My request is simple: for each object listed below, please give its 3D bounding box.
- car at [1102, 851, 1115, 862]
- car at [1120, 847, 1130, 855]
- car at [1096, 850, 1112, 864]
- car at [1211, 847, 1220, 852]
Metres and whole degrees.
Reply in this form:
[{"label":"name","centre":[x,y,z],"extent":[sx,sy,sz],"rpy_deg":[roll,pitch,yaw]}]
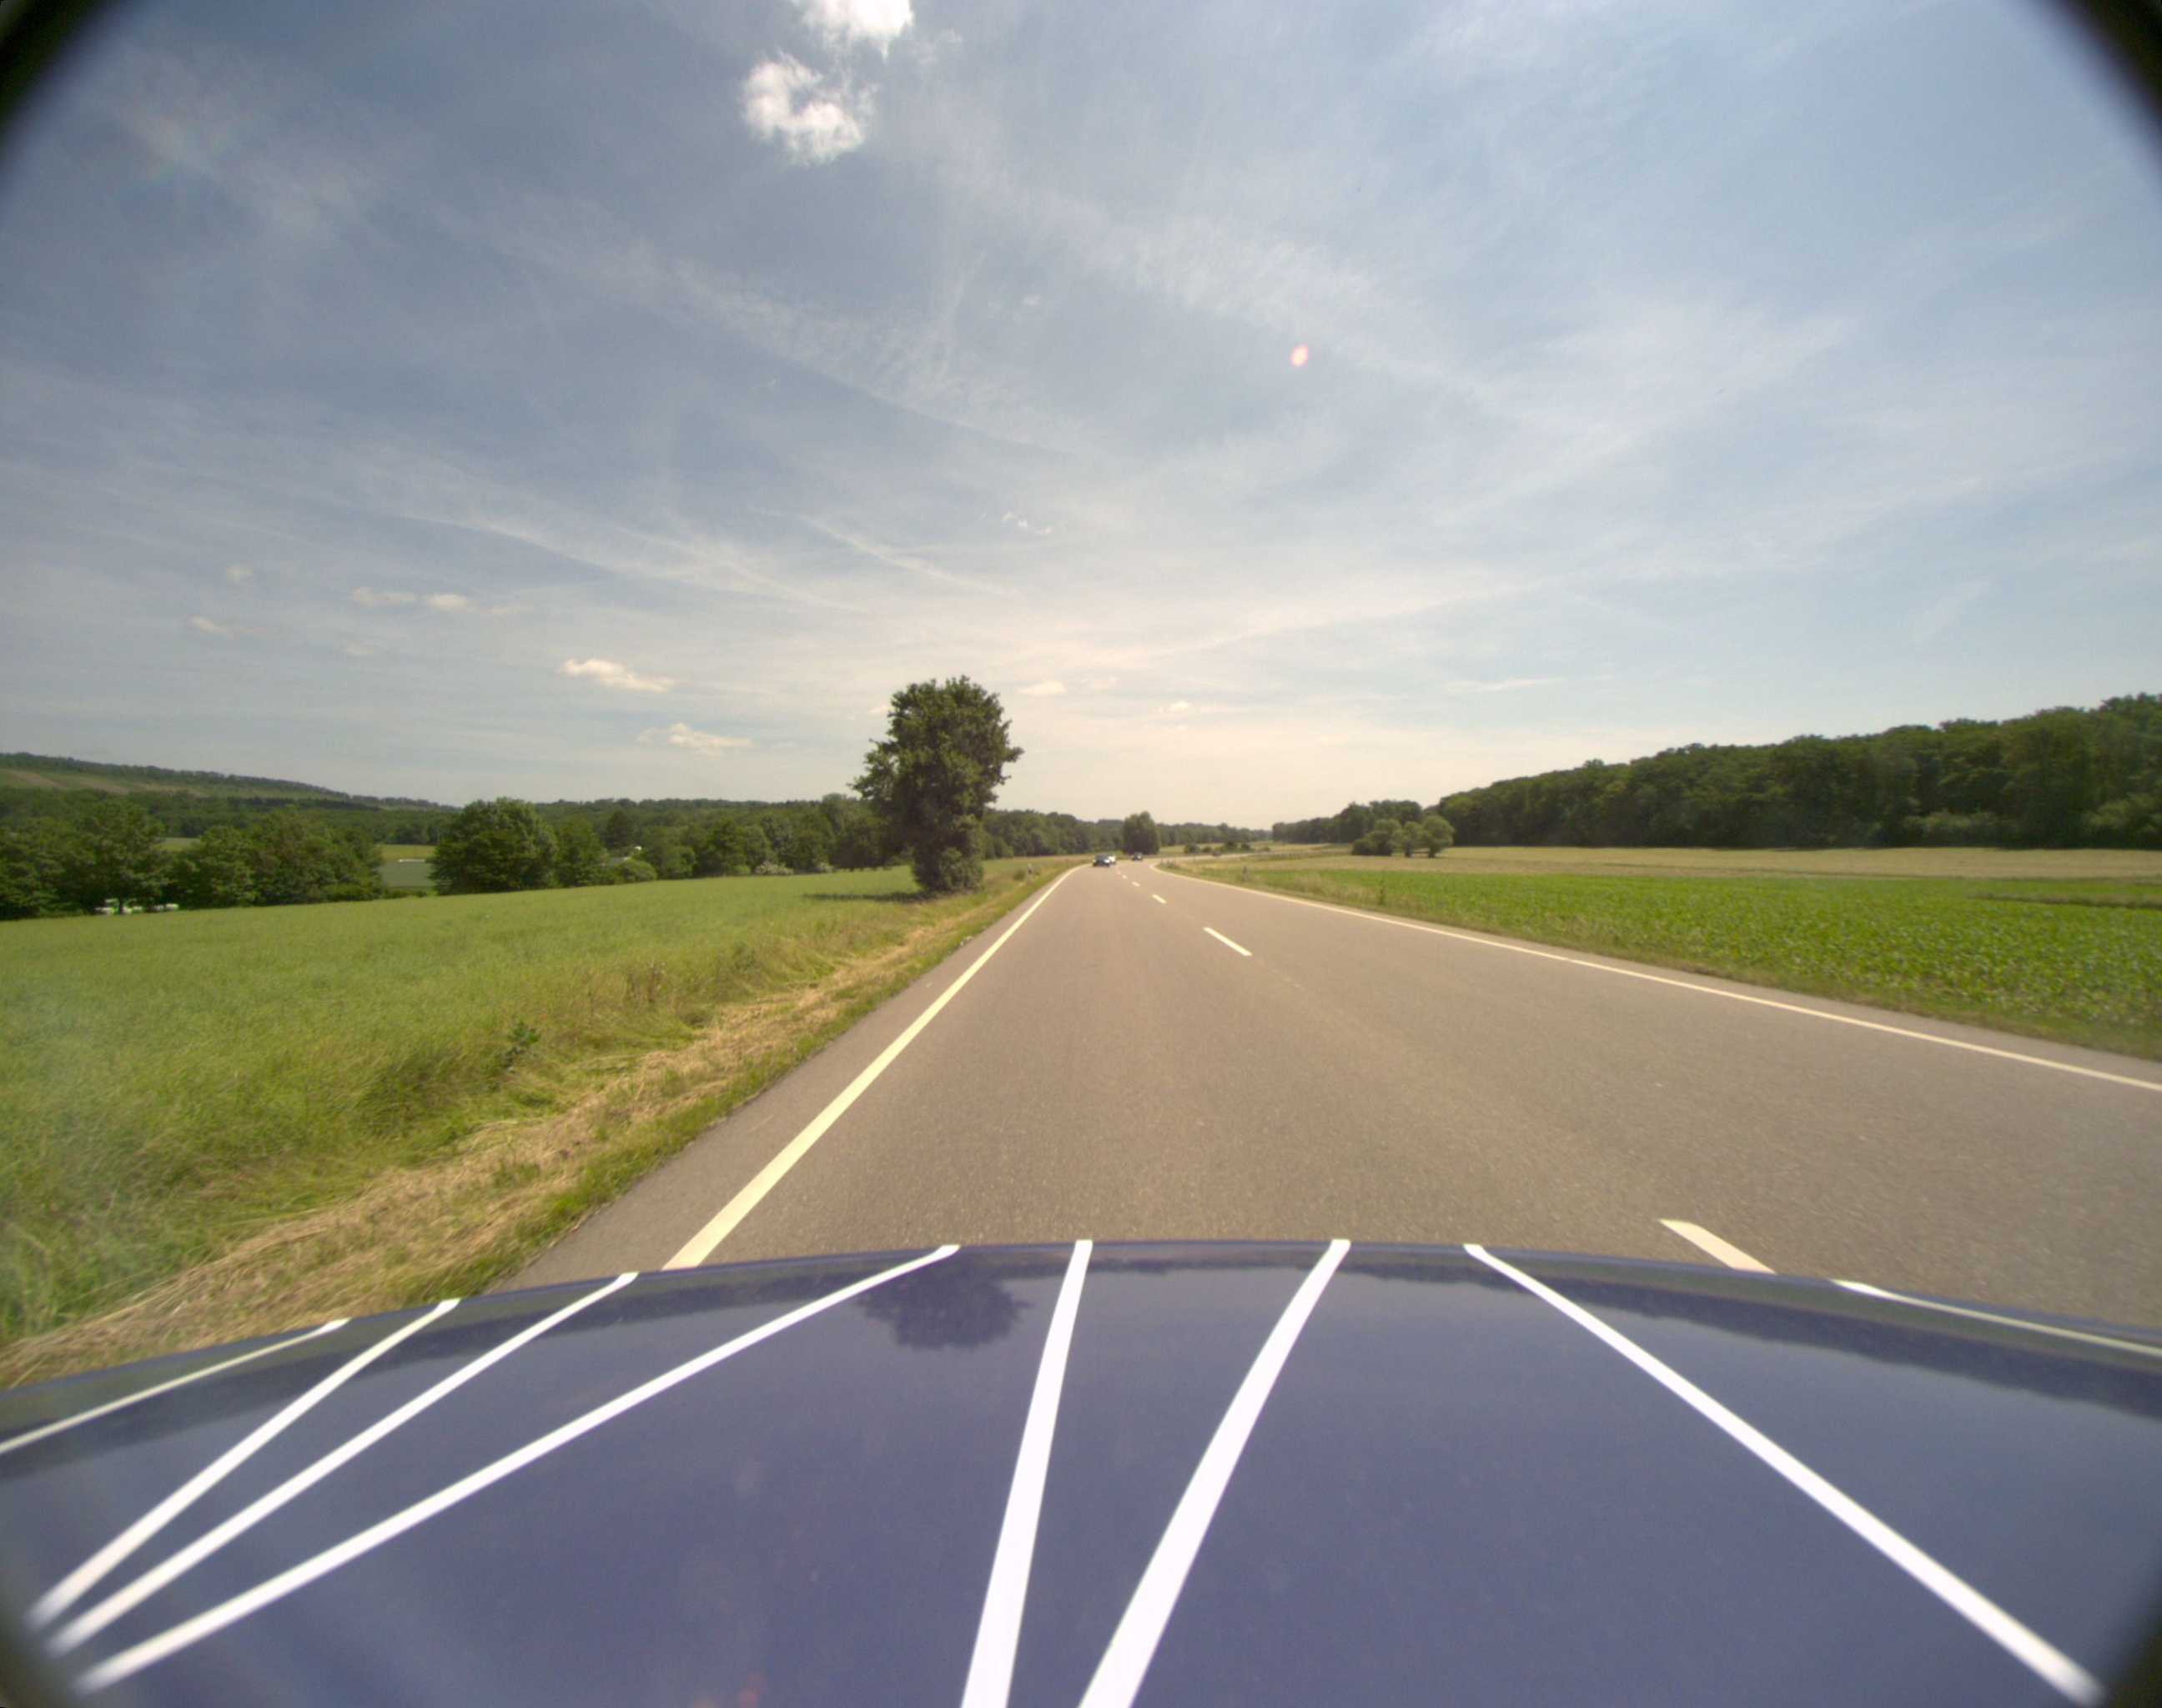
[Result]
[{"label":"car","centre":[3.670,0.285,102.028],"extent":[1.621,1.428,3.444],"rpy_deg":[1,0,4]},{"label":"car","centre":[8.436,-0.643,145.447],"extent":[1.621,1.429,3.443],"rpy_deg":[1,2,6]},{"label":"car","centre":[2.499,0.359,83.052],"extent":[1.621,1.428,3.443],"rpy_deg":[1,1,4]},{"label":"car","centre":[39.394,-1.305,222.085],"extent":[1.618,1.429,3.449],"rpy_deg":[2,3,30]}]
